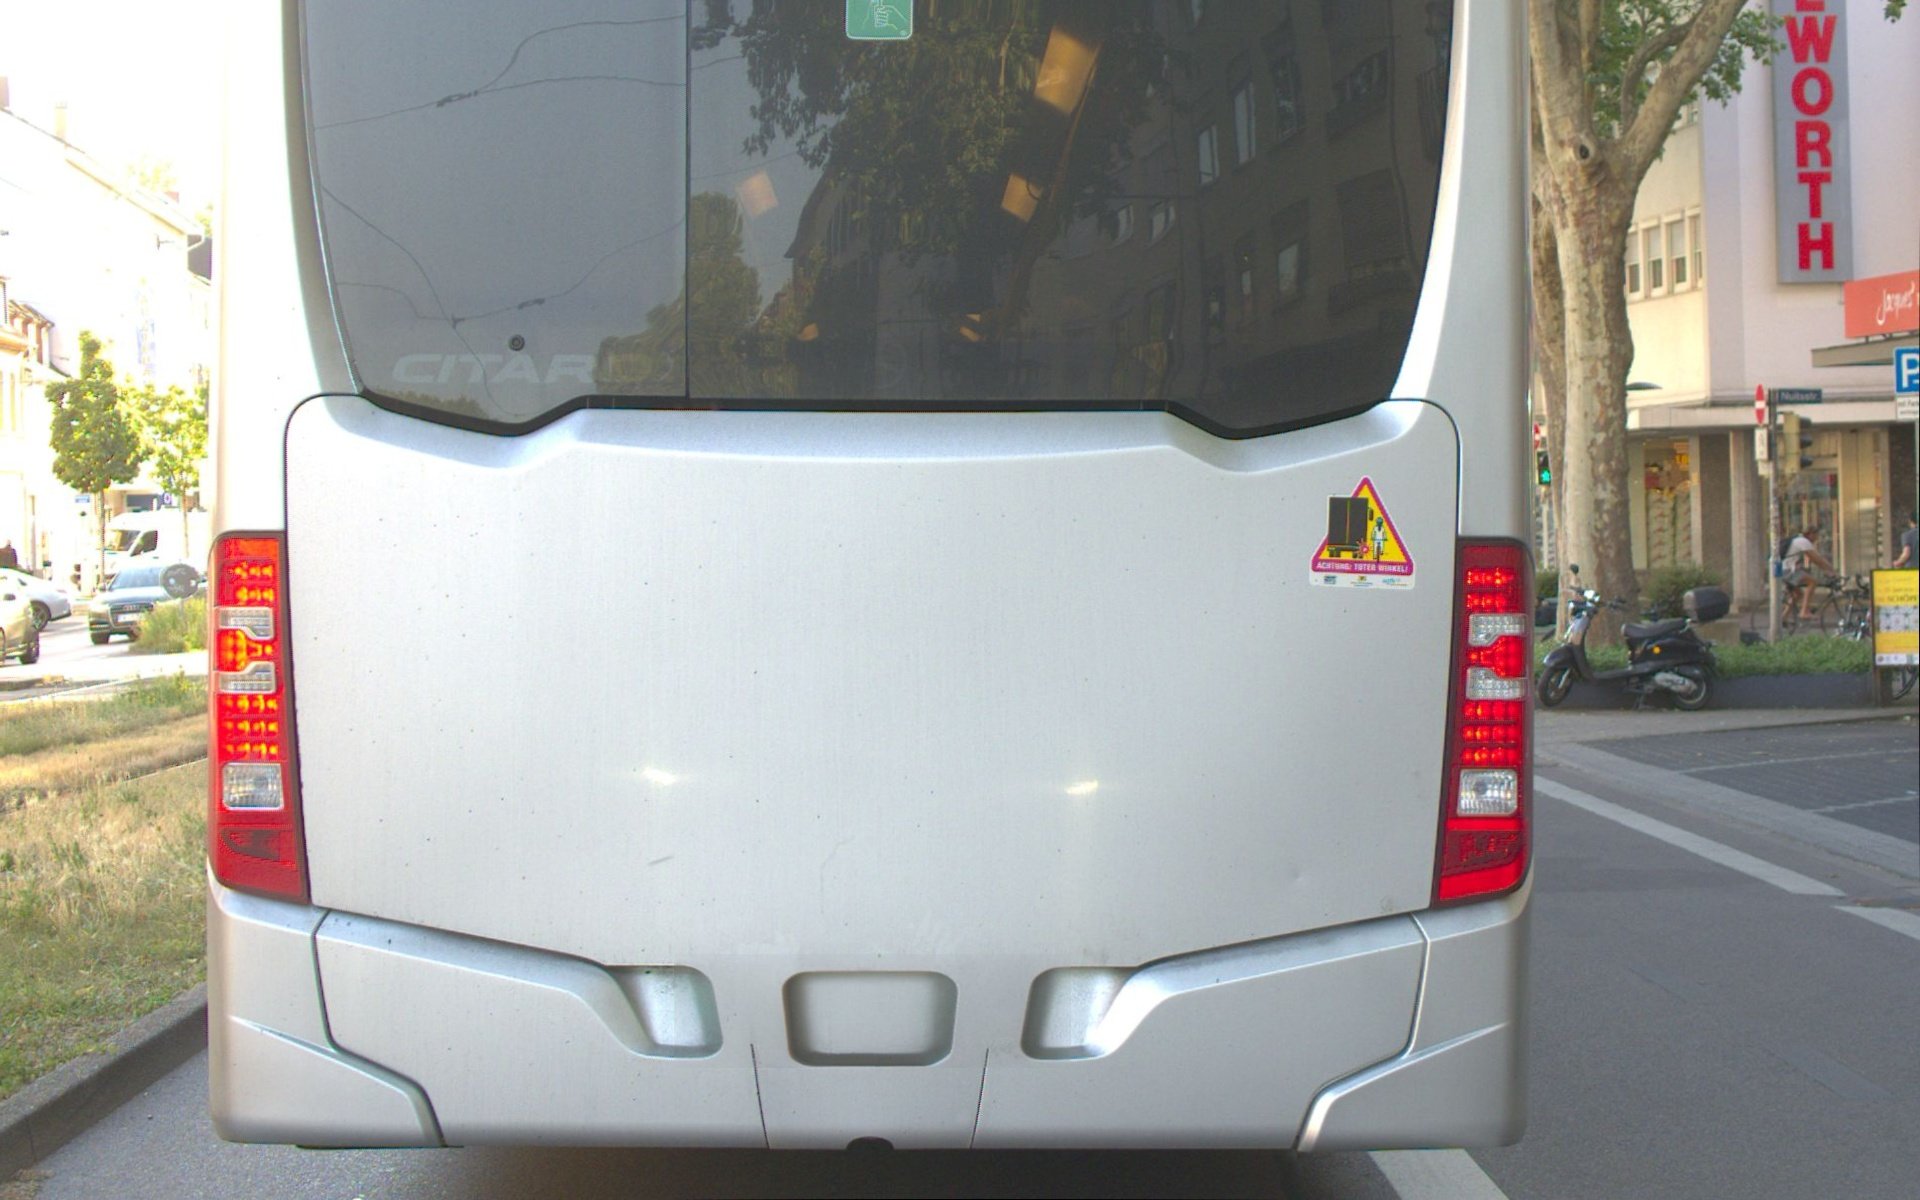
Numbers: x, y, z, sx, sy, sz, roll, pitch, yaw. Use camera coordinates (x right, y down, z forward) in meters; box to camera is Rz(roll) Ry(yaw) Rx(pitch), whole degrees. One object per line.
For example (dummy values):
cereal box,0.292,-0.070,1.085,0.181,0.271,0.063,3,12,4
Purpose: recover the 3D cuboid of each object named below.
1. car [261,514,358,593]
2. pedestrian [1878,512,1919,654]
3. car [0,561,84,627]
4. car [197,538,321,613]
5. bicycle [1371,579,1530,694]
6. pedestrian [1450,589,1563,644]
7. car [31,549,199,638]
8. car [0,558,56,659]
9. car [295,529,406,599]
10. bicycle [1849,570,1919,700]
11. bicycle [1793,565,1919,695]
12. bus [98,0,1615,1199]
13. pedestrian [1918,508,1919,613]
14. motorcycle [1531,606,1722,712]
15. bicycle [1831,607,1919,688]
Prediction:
car,-17.407,-1.256,92.162,1.993,2.007,4.001,-1,1,-3
pedestrian,12.192,-0.231,43.760,0.780,1.787,0.764,-1,1,0
car,-21.712,-0.098,75.088,4.538,1.407,2.000,-2,1,-36
car,-15.803,-0.573,77.662,1.780,1.445,4.044,-3,2,2
bicycle,4.980,0.369,34.969,1.509,1.101,0.460,2,1,0
pedestrian,6.616,0.194,41.627,1.254,0.587,0.482,-3,1,-2
car,-15.969,-0.154,65.215,1.993,1.554,4.775,-1,1,0
car,-15.262,0.163,52.765,1.722,1.504,3.476,-4,1,1
car,-15.168,-0.913,85.707,1.780,1.609,4.508,-2,1,2
bicycle,9.543,0.287,32.941,1.785,1.185,0.672,-4,0,-8
bicycle,9.266,0.266,33.952,1.877,1.185,0.711,-4,0,8
bus,-0.146,-0.178,9.639,2.678,3.073,7.114,0,1,1
pedestrian,15.780,-0.625,54.768,0.747,1.673,0.835,-1,3,-6
motorcycle,5.944,0.522,30.697,1.570,0.889,0.544,-2,1,-3
bicycle,9.849,0.468,34.882,1.877,0.762,0.711,-1,2,8
